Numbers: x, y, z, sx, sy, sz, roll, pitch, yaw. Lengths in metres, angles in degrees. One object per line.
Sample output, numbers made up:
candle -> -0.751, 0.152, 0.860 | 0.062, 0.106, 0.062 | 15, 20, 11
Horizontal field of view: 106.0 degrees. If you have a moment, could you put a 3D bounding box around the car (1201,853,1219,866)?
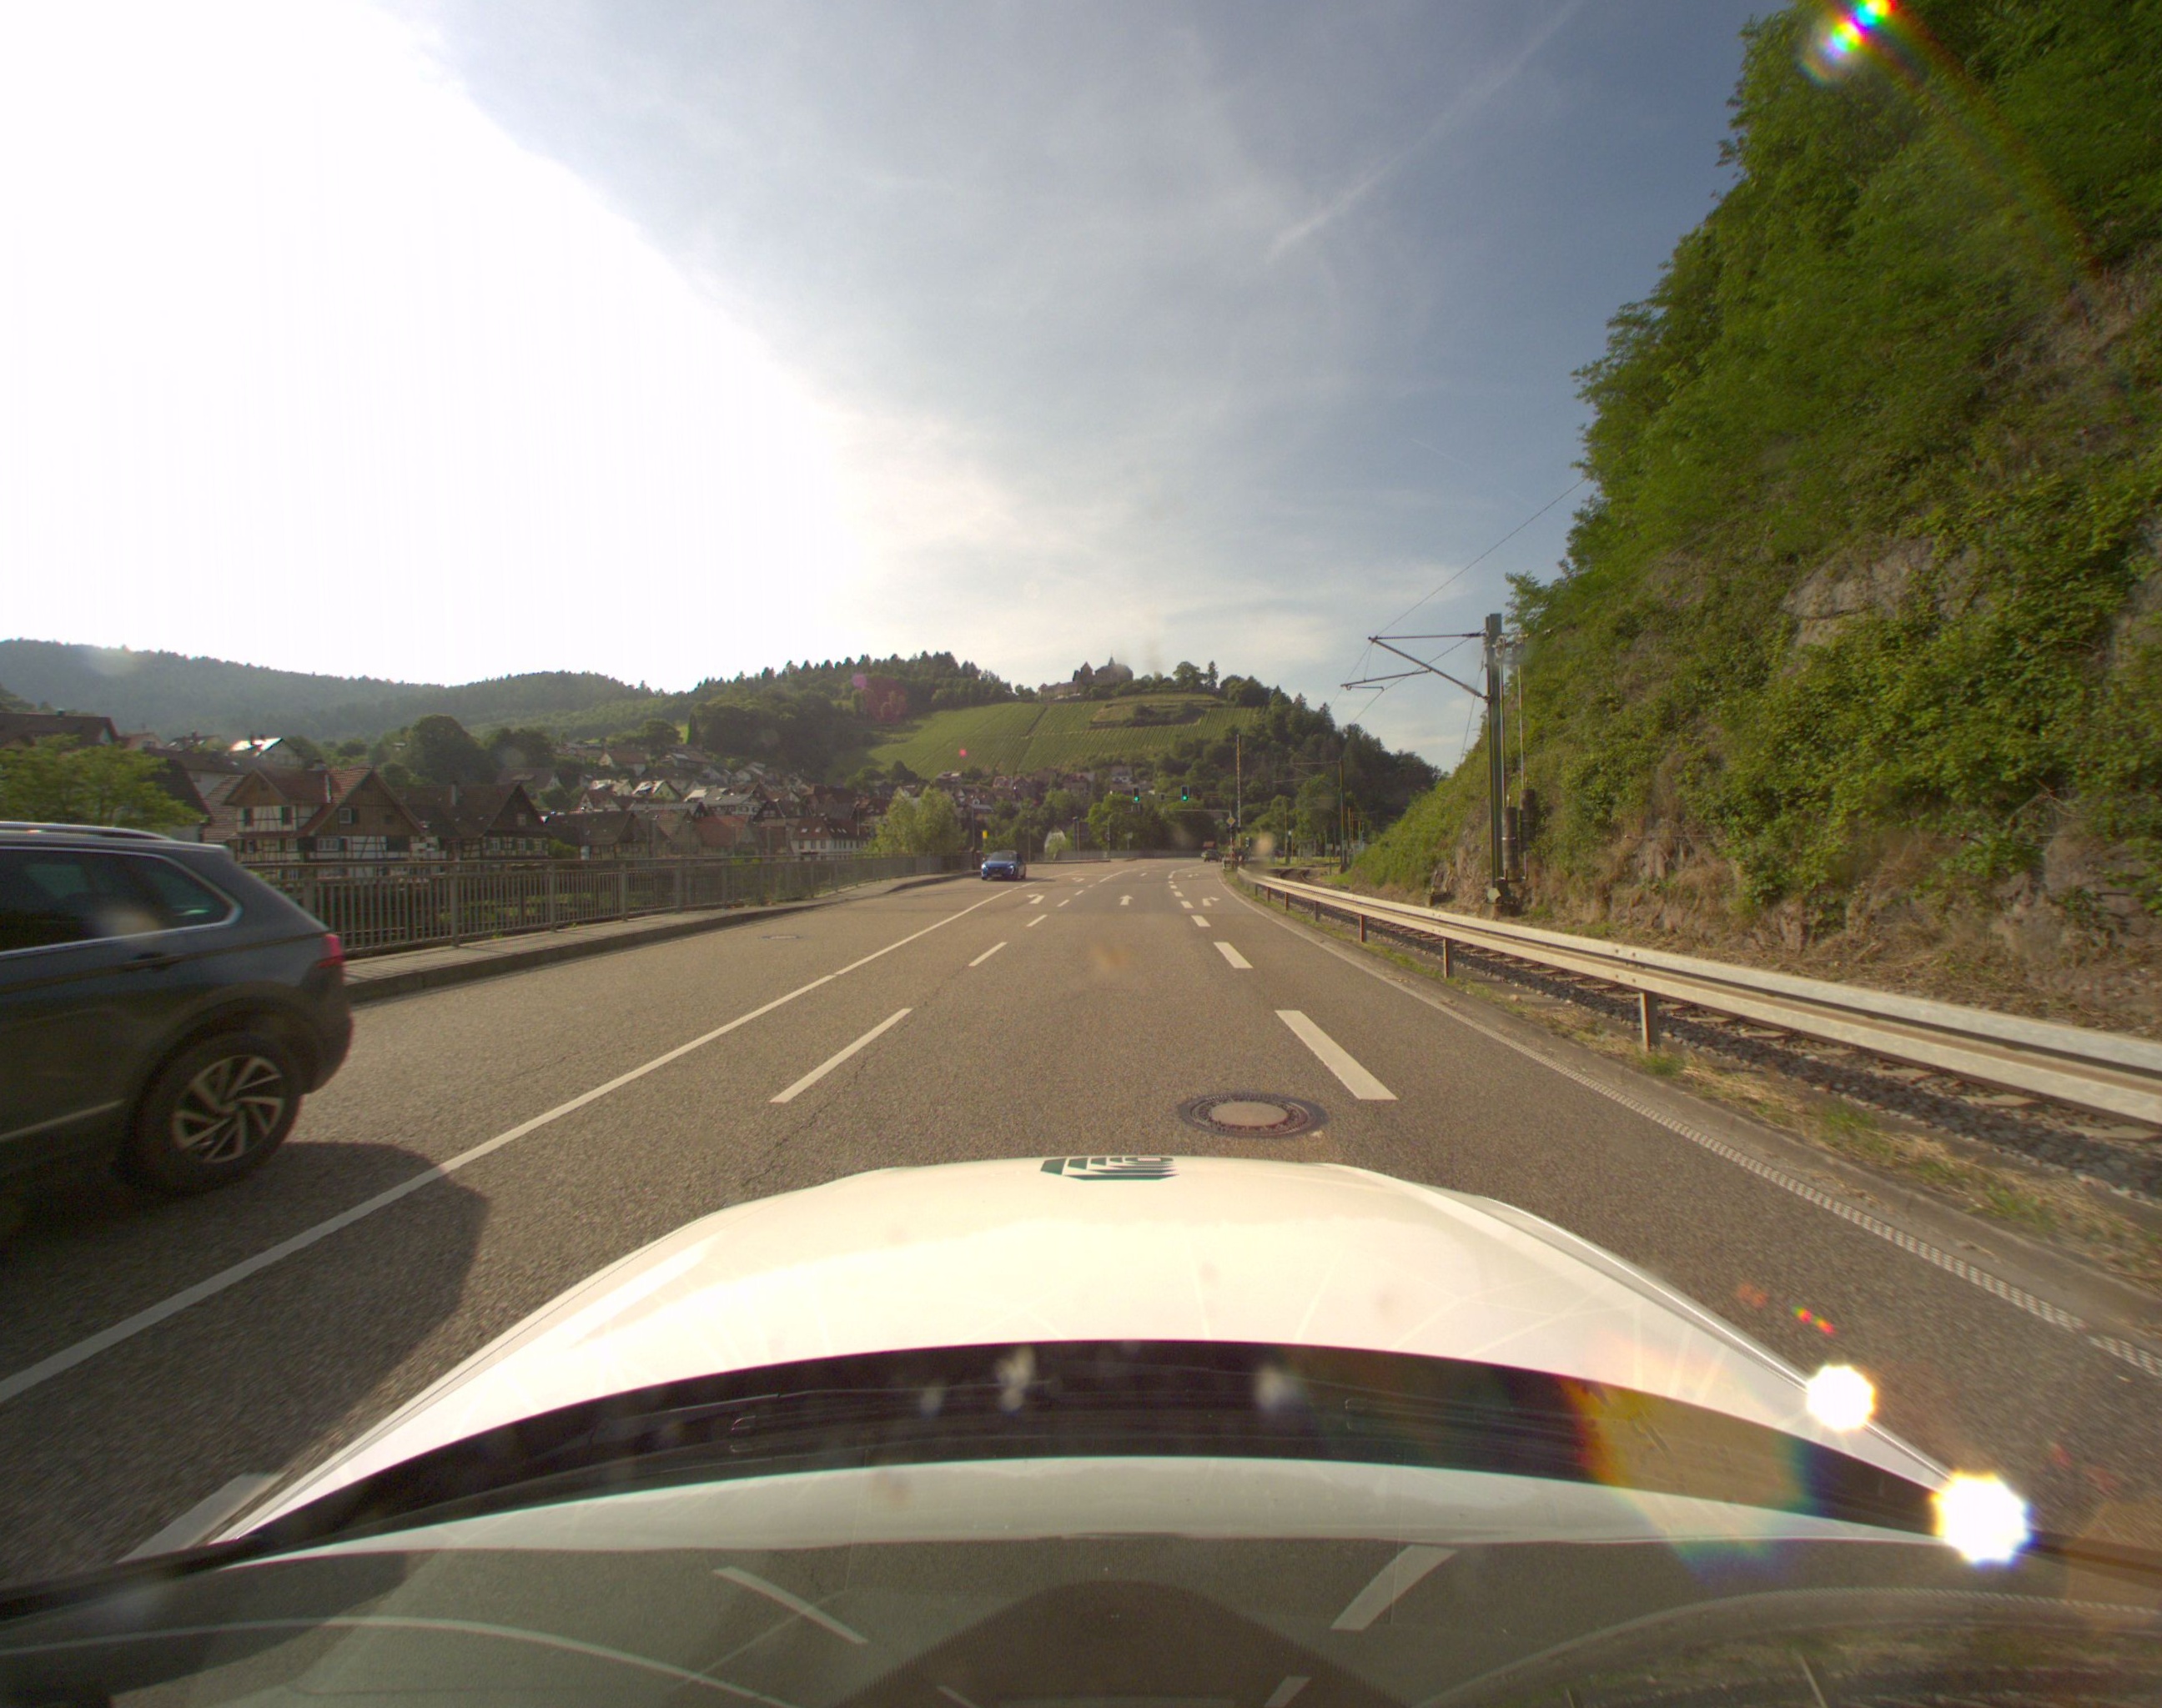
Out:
car -> 16.047, 0.671, 101.175 | 1.714, 1.457, 3.426 | -2, -1, 18

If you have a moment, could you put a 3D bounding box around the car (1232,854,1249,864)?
car -> 23.910, 0.744, 121.813 | 1.824, 1.459, 3.732 | -2, -1, 20

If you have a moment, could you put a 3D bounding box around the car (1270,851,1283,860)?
car -> 36.443, 0.277, 151.647 | 1.790, 1.453, 3.667 | -2, -1, 24

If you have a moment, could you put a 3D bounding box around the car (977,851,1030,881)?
car -> -3.942, 0.569, 42.160 | 1.773, 1.482, 4.534 | 0, 0, 7

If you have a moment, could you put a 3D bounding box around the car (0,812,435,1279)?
car -> -4.716, 0.687, 2.505 | 1.811, 1.646, 4.610 | -1, 0, -1

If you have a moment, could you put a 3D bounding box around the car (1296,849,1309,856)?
car -> 47.477, -0.382, 174.591 | 1.791, 1.408, 3.796 | -2, -1, 29
